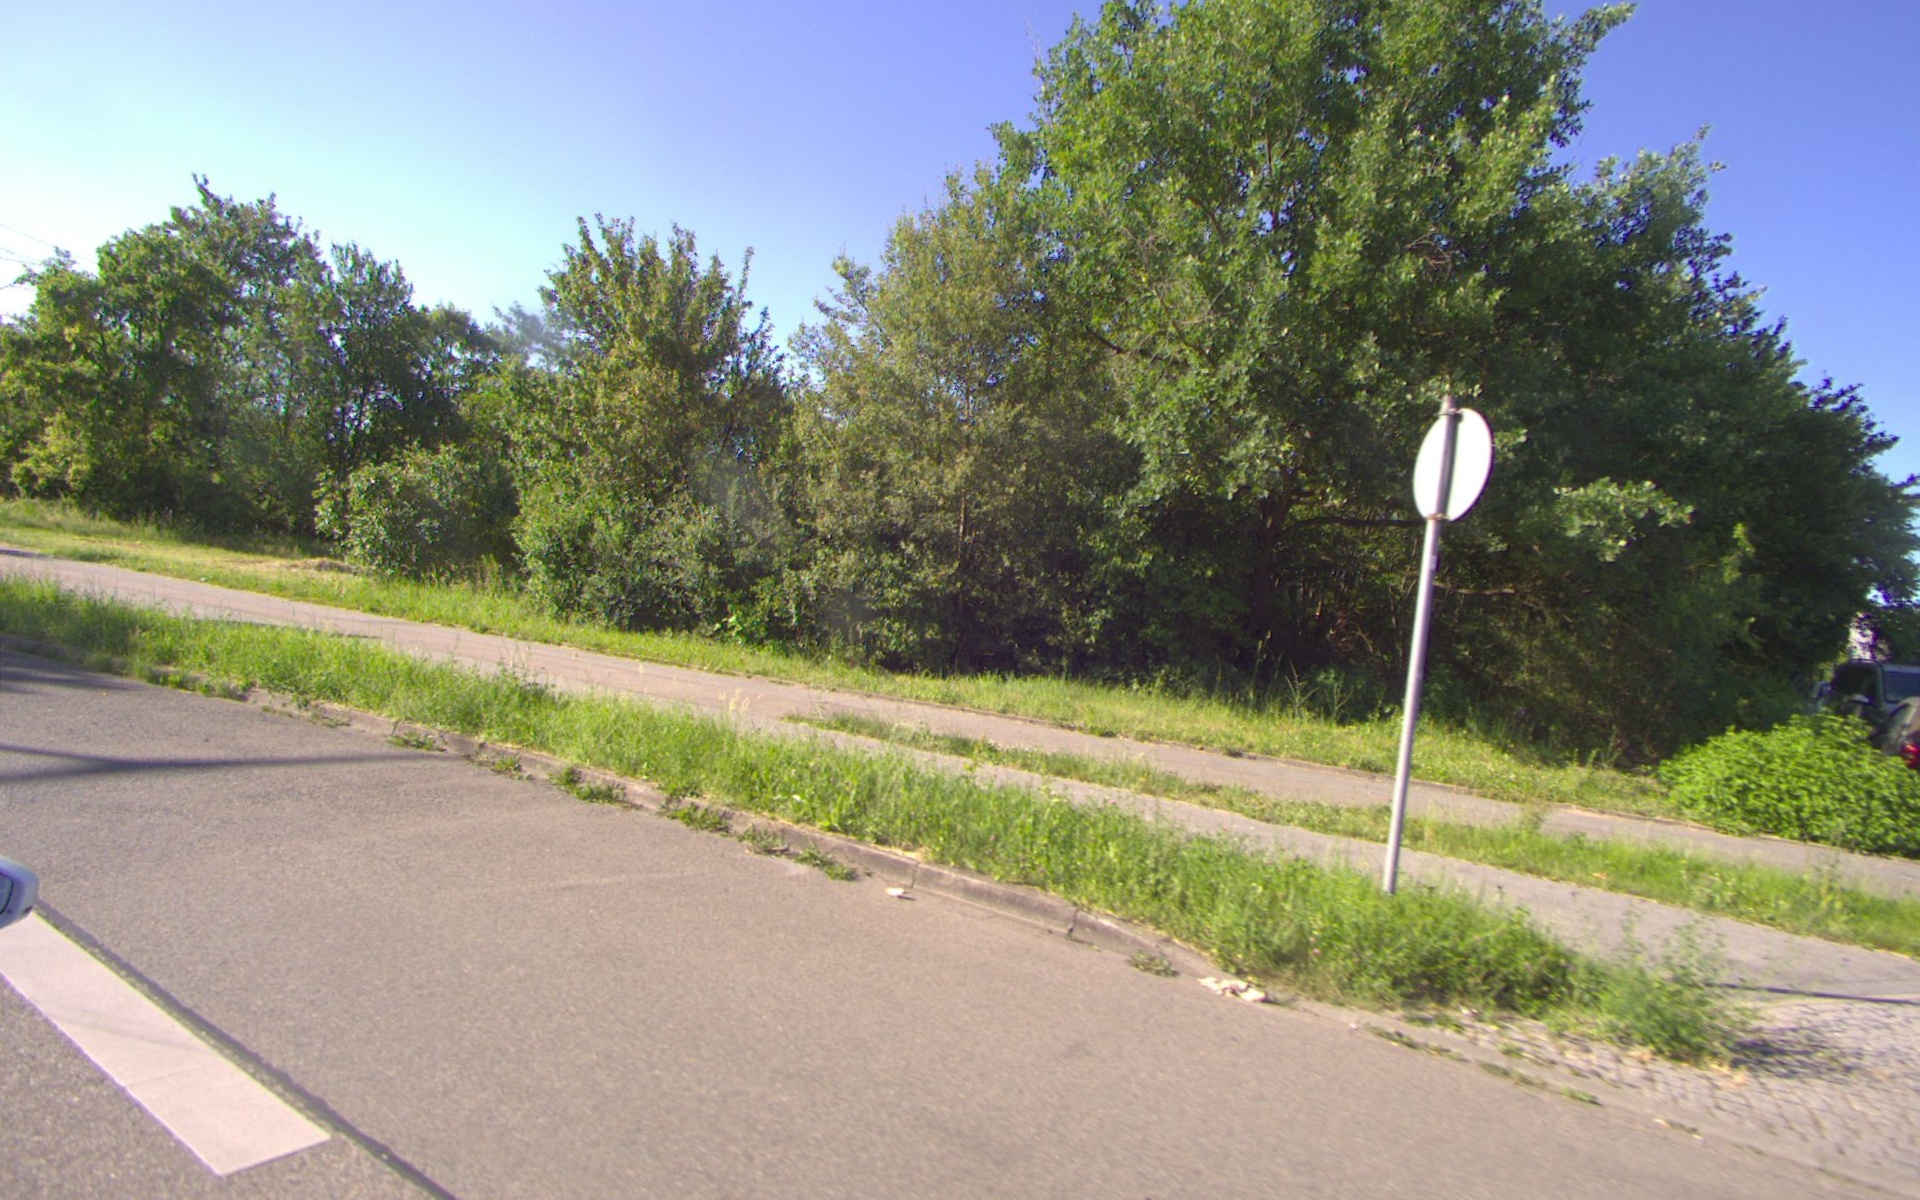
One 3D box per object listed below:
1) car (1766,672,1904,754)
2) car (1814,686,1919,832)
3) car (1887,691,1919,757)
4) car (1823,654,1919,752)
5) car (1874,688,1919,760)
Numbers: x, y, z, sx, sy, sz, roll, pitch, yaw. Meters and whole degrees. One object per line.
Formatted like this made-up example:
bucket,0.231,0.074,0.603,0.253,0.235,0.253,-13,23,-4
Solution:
car,19.797,2.491,22.933,1.706,1.403,4.037,6,1,33
car,11.536,1.935,11.818,1.743,1.503,3.289,6,-2,33
car,24.056,3.109,23.138,3.644,1.481,1.611,6,-2,32
car,17.127,1.841,18.157,1.706,1.551,4.037,6,1,33
car,22.292,2.891,21.547,3.644,1.481,1.611,6,-2,32
